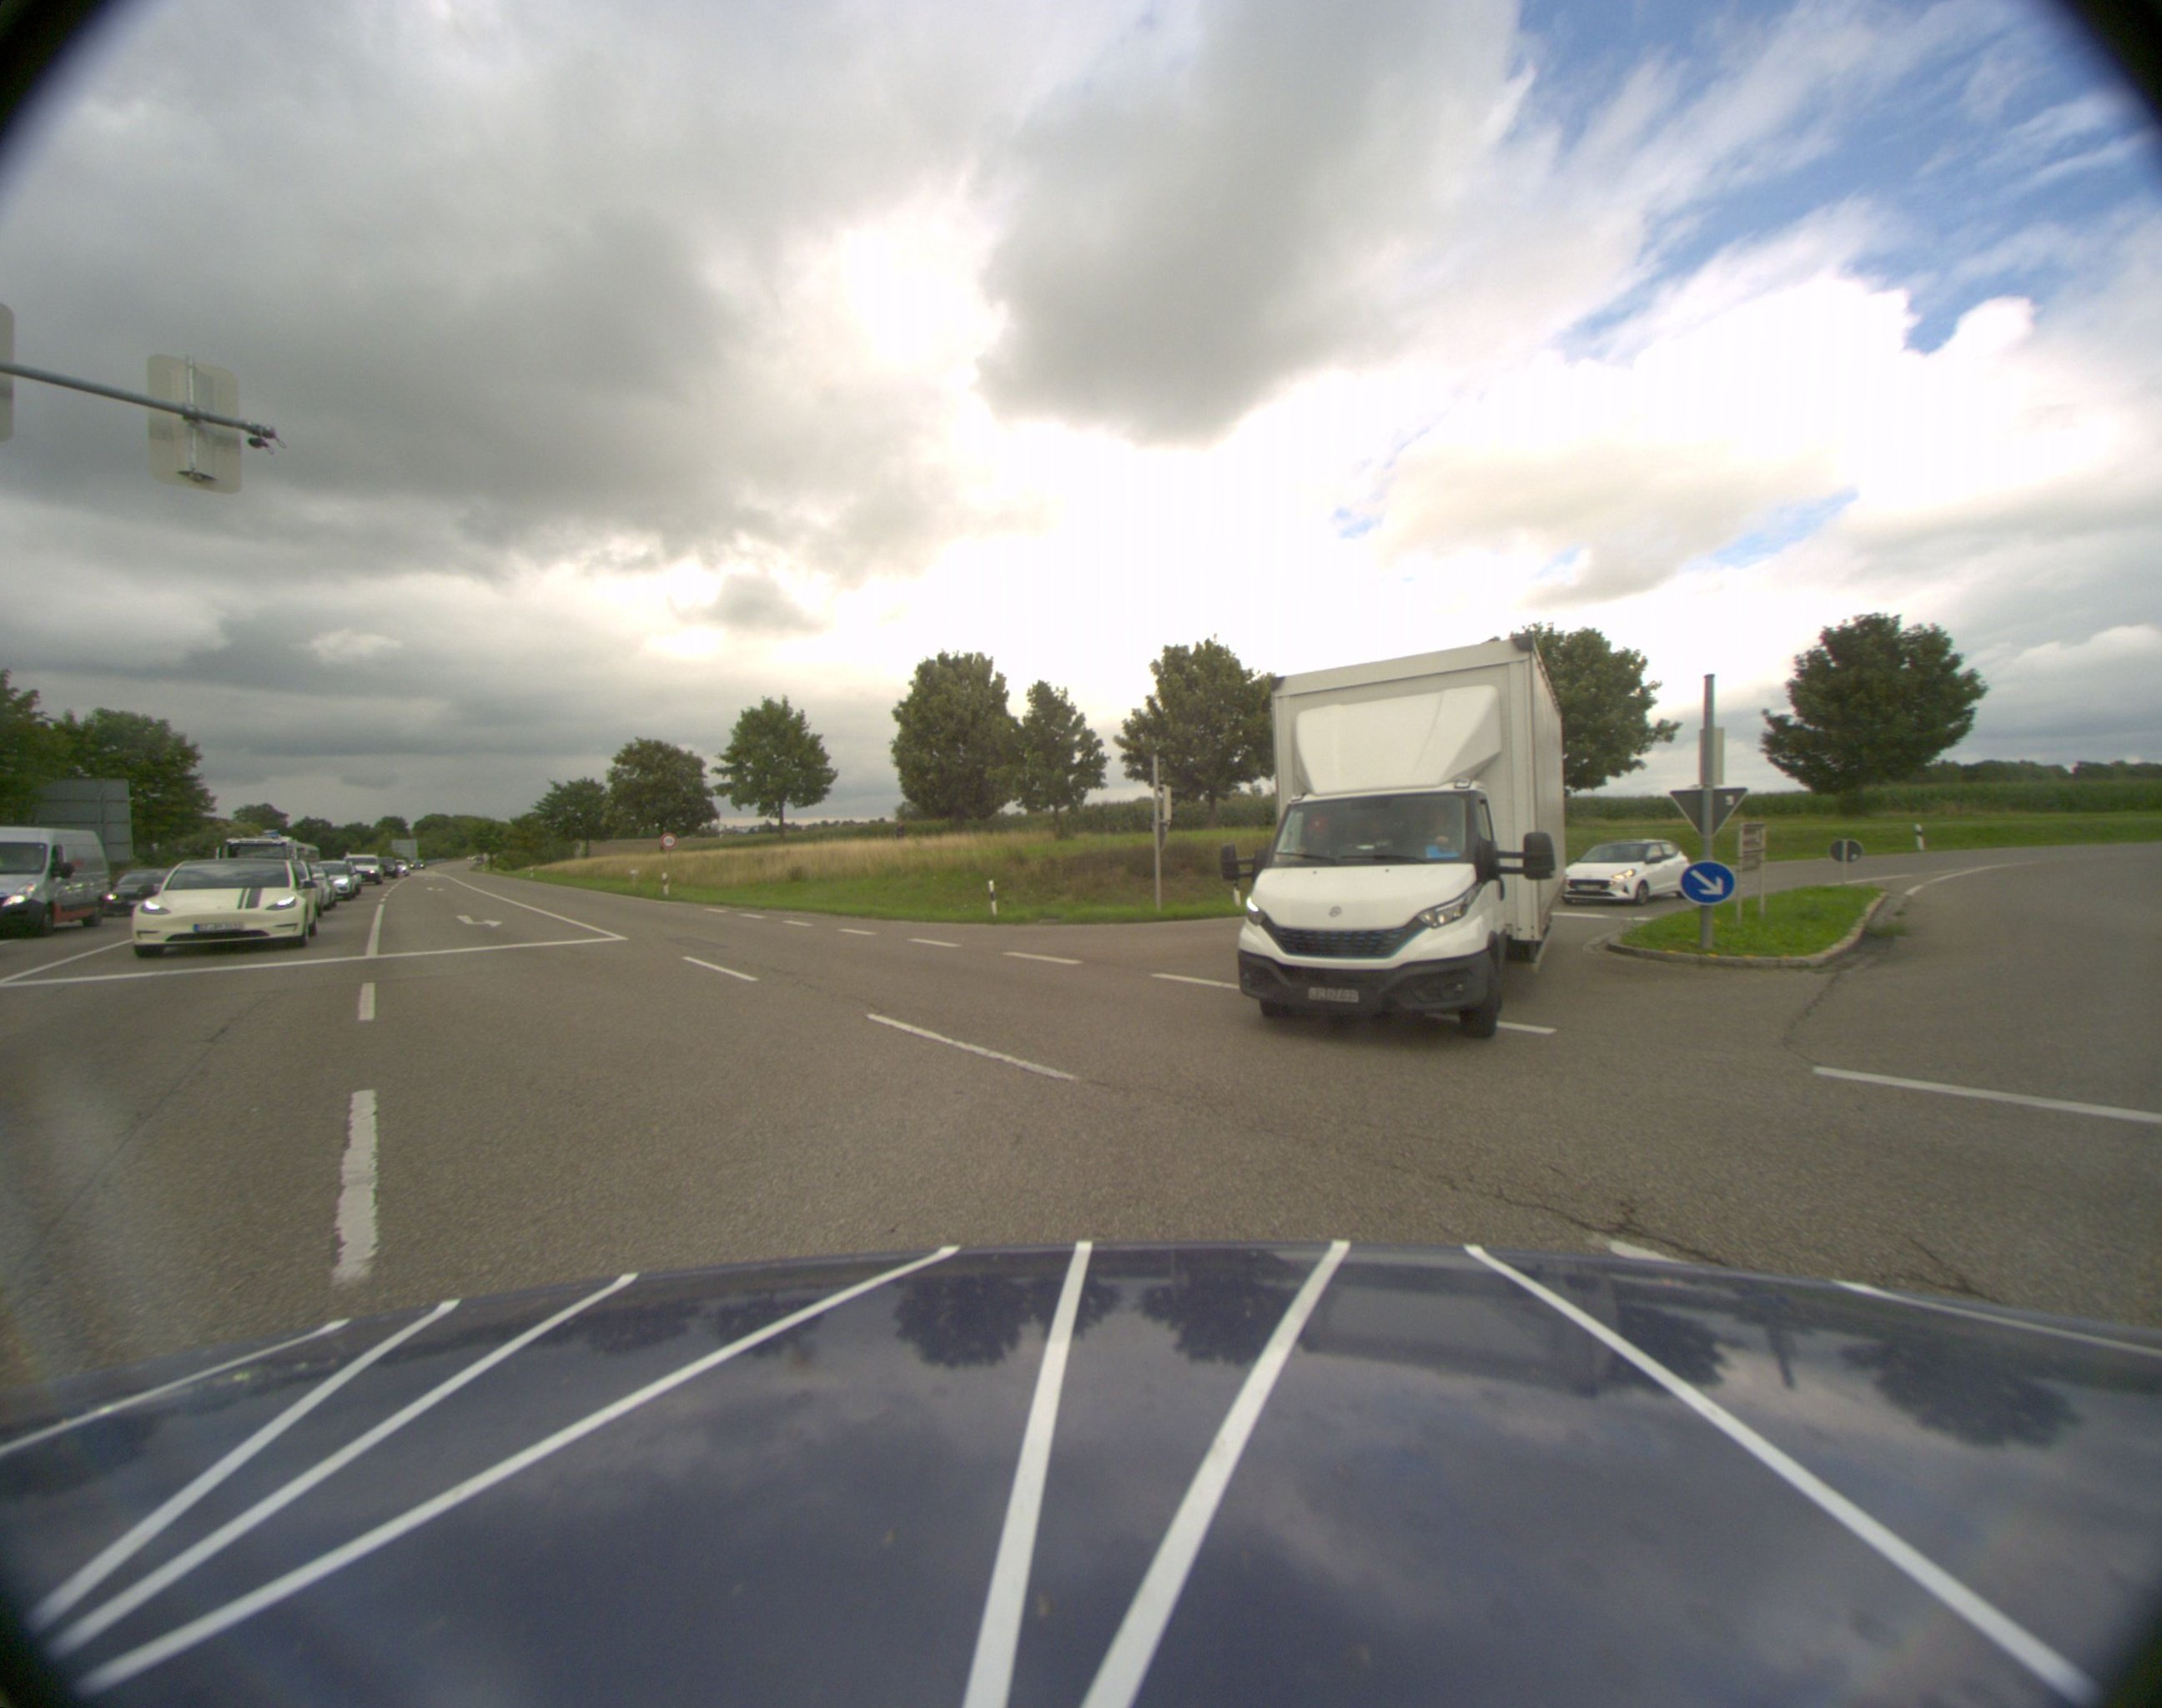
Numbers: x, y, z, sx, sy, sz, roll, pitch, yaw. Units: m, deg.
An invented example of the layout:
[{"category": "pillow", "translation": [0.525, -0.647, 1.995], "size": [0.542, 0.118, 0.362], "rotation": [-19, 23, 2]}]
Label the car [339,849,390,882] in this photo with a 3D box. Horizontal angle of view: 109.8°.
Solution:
[{"category": "car", "translation": [-46.910, 0.718, 49.817], "size": [2.174, 2.002, 4.667], "rotation": [-2, 1, -41]}]

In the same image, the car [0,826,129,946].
[{"category": "car", "translation": [-24.144, 0.680, 17.084], "size": [2.402, 2.428, 5.497], "rotation": [-4, 2, -41]}]

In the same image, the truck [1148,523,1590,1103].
[{"category": "truck", "translation": [4.324, -0.303, 9.308], "size": [2.831, 3.742, 8.817], "rotation": [0, 1, 36]}]

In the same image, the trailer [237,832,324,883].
[{"category": "trailer", "translation": [-53.247, 0.195, 50.798], "size": [3.115, 3.073, 10.630], "rotation": [-2, 1, -42]}]

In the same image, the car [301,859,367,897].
[{"category": "car", "translation": [-34.448, 1.056, 35.152], "size": [2.004, 1.583, 4.434], "rotation": [-2, 1, -43]}]

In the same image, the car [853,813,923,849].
[{"category": "car", "translation": [-11.575, -1.362, 45.503], "size": [3.988, 2.002, 2.003], "rotation": [-1, 3, 40]}]

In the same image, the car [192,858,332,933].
[{"category": "car", "translation": [-20.957, 0.952, 19.643], "size": [2.004, 1.620, 4.310], "rotation": [-4, 2, -42]}]

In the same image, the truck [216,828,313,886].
[{"category": "truck", "translation": [-47.193, 0.161, 44.139], "size": [3.115, 3.091, 7.385], "rotation": [-2, 1, -42]}]

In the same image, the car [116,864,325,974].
[{"category": "car", "translation": [-15.651, 1.030, 14.122], "size": [2.004, 1.556, 4.735], "rotation": [-4, 2, -42]}]

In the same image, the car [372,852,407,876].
[{"category": "car", "translation": [-61.144, 0.834, 67.246], "size": [2.174, 2.002, 4.514], "rotation": [-2, 1, -41]}]

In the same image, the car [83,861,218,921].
[{"category": "car", "translation": [-29.324, 1.095, 24.103], "size": [2.004, 1.620, 4.262], "rotation": [-4, 2, -42]}]

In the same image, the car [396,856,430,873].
[{"category": "car", "translation": [-67.617, 1.056, 76.873], "size": [4.742, 1.587, 2.174], "rotation": [0, 1, 44]}]

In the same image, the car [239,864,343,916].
[{"category": "car", "translation": [-25.253, 1.076, 24.447], "size": [2.004, 1.446, 4.568], "rotation": [-2, 1, -43]}]

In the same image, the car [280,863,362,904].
[{"category": "car", "translation": [-30.394, 1.118, 30.501], "size": [2.004, 1.410, 4.434], "rotation": [-2, 1, -41]}]

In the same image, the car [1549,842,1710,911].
[{"category": "car", "translation": [13.468, 0.477, 18.614], "size": [4.006, 1.444, 1.806], "rotation": [-2, 1, -31]}]

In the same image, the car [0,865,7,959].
[{"category": "car", "translation": [-18.301, 1.018, 11.186], "size": [2.004, 1.619, 4.262], "rotation": [-2, 1, -43]}]
